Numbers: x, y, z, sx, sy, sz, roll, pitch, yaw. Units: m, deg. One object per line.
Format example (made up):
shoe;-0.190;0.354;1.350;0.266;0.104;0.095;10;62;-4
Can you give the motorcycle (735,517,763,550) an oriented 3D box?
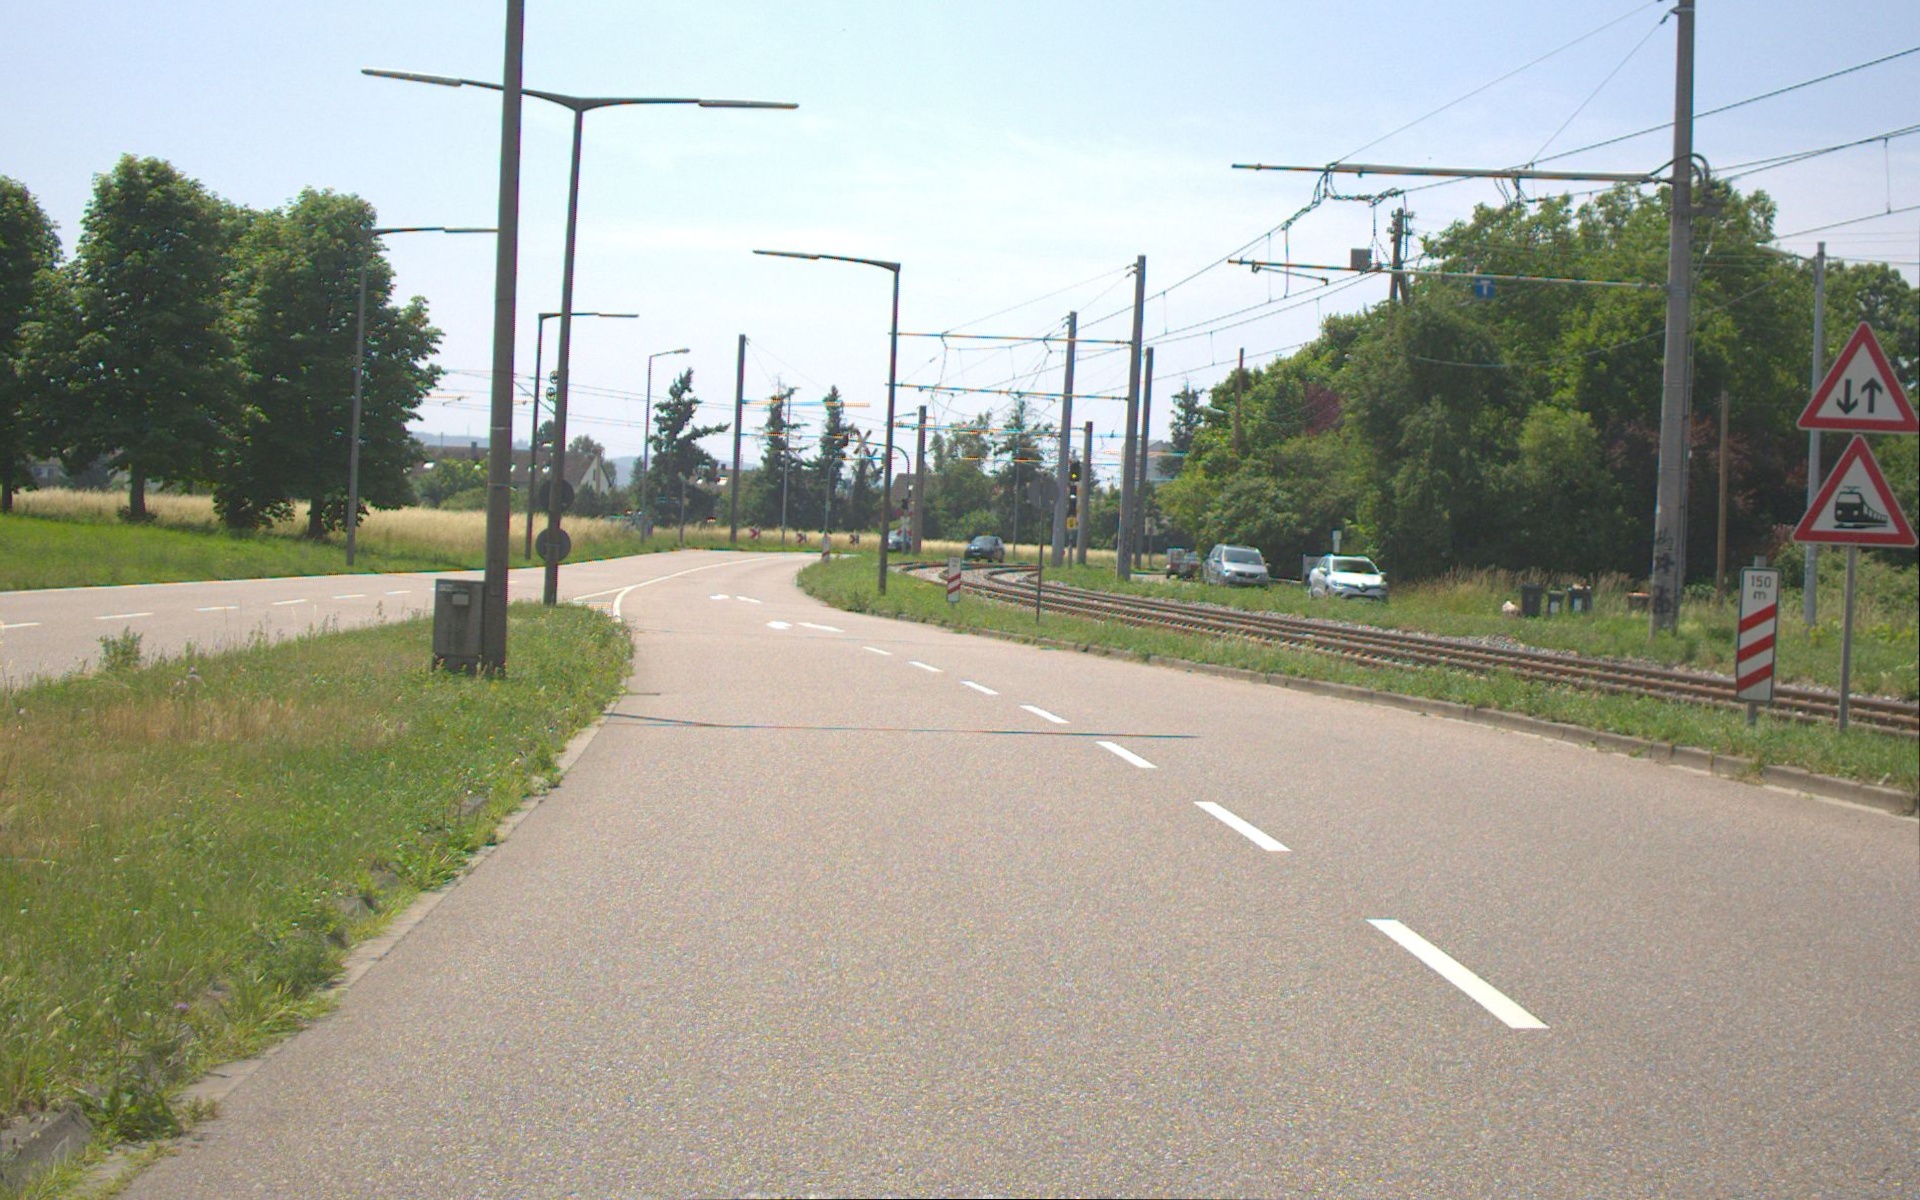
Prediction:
motorcycle;-10.731;-3.376;175.083;0.989;1.575;3.400;4;0;2

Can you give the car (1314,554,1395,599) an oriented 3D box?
car;11.196;-0.677;97.713;1.562;1.175;3.080;2;1;-7

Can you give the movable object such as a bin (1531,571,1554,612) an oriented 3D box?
movable object such as a bin;15.470;-0.230;91.303;0.525;1.046;0.499;2;1;7

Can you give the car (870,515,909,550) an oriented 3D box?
car;-4.047;-3.873;197.904;1.404;1.765;3.252;4;0;12

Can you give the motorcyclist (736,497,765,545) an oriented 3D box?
motorcyclist;-10.678;-4.006;175.262;1.231;2.343;1.106;4;0;2

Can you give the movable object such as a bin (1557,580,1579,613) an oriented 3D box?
movable object such as a bin;16.131;-0.095;91.212;0.525;0.861;0.499;2;1;7

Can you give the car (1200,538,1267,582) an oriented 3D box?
car;9.626;-1.420;121.264;1.671;1.392;3.651;4;0;-5

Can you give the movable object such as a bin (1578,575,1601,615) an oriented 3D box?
movable object such as a bin;16.706;-0.133;91.207;0.525;1.046;0.499;2;1;7
